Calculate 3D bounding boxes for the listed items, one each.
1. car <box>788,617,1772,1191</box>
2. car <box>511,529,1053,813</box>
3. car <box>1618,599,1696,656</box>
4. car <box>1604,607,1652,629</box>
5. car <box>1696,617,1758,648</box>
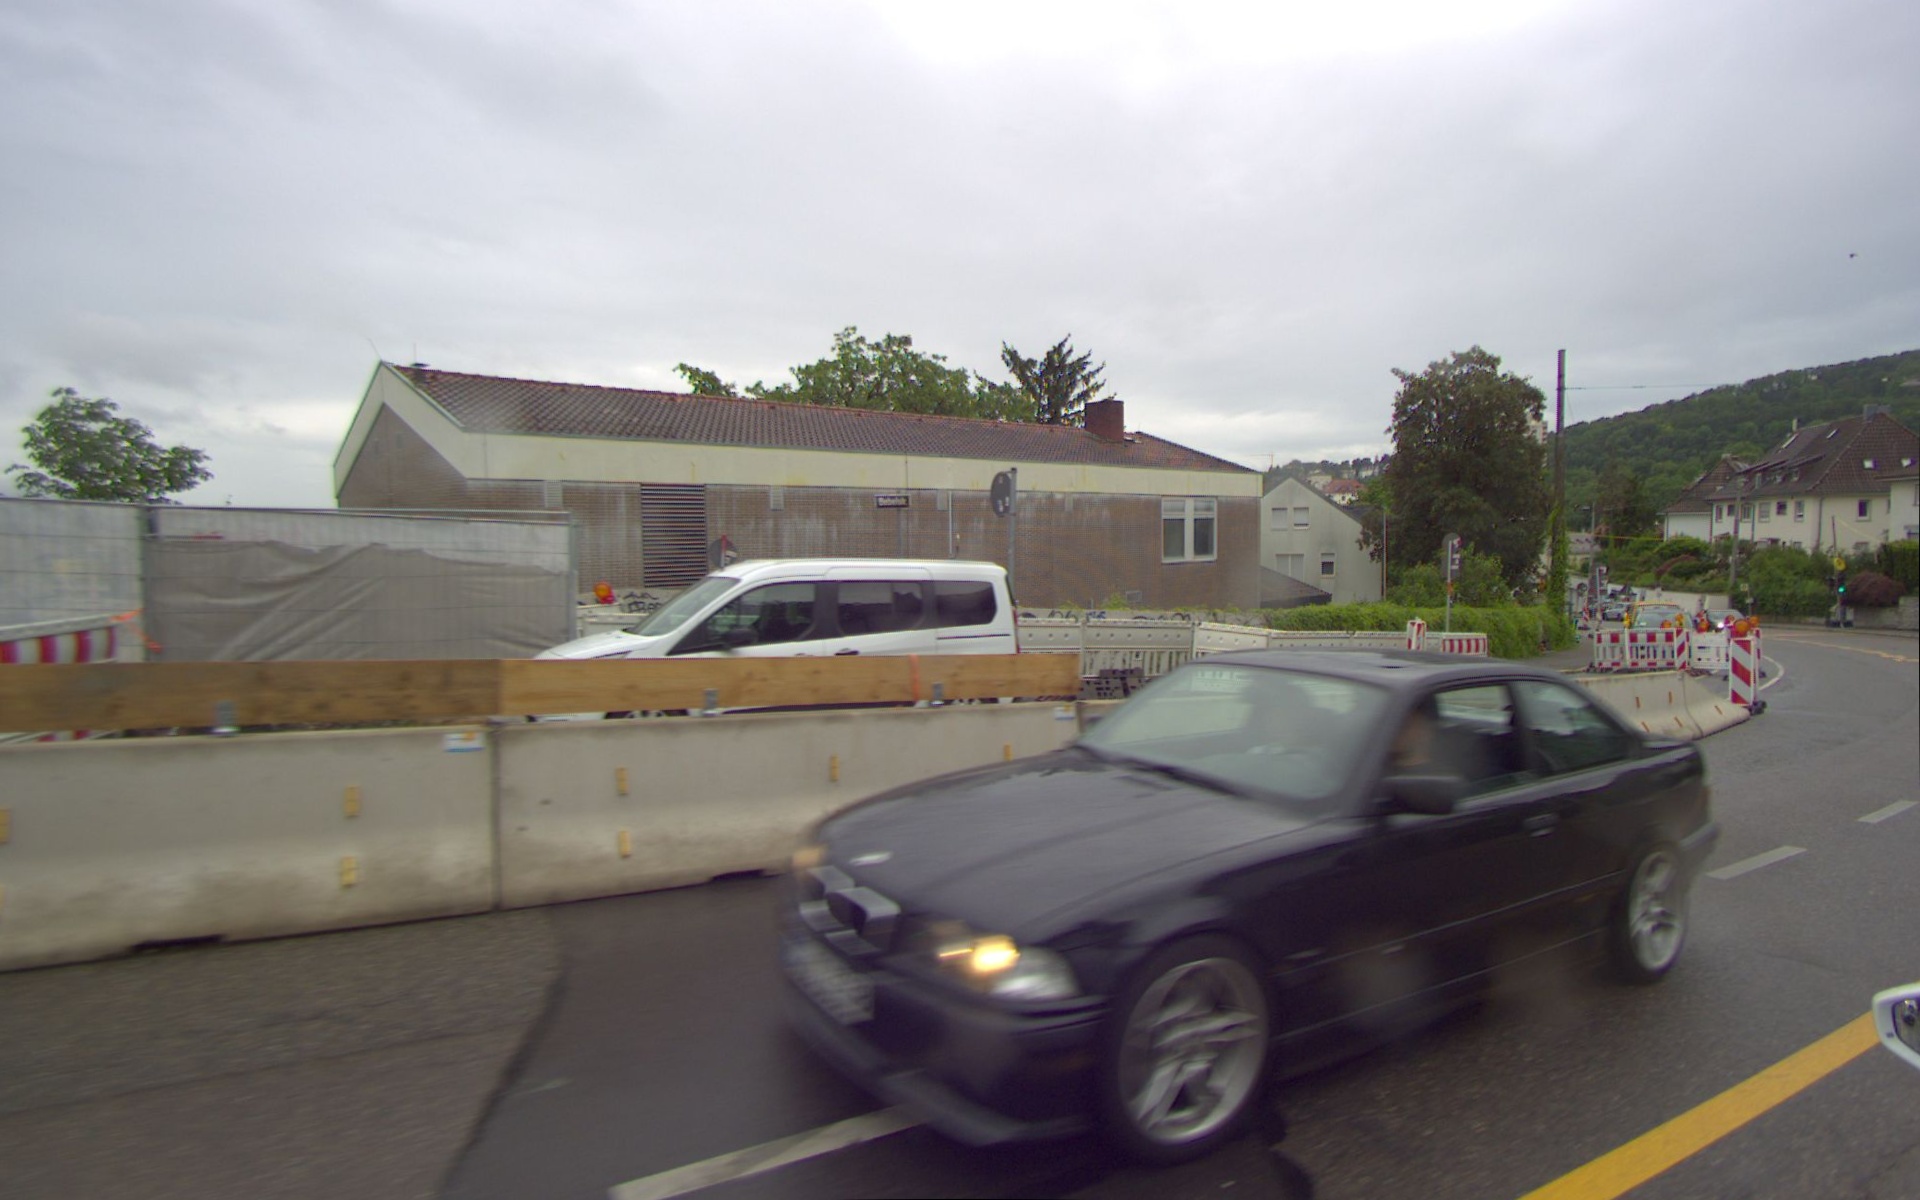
[{"bbox_3d":[1.575,0.813,4.203,4.218,1.328,1.638,3,-3,-33],"label":"car"},{"bbox_3d":[-1.643,0.454,9.782,4.747,2.041,1.985,-5,4,-29],"label":"car"},{"bbox_3d":[27.523,1.050,39.813,1.964,2.040,5.133,2,0,29],"label":"car"},{"bbox_3d":[52.495,1.414,79.025,1.960,1.595,4.001,2,0,16],"label":"car"},{"bbox_3d":[39.148,1.635,51.339,1.964,1.483,3.992,2,0,30],"label":"car"}]
